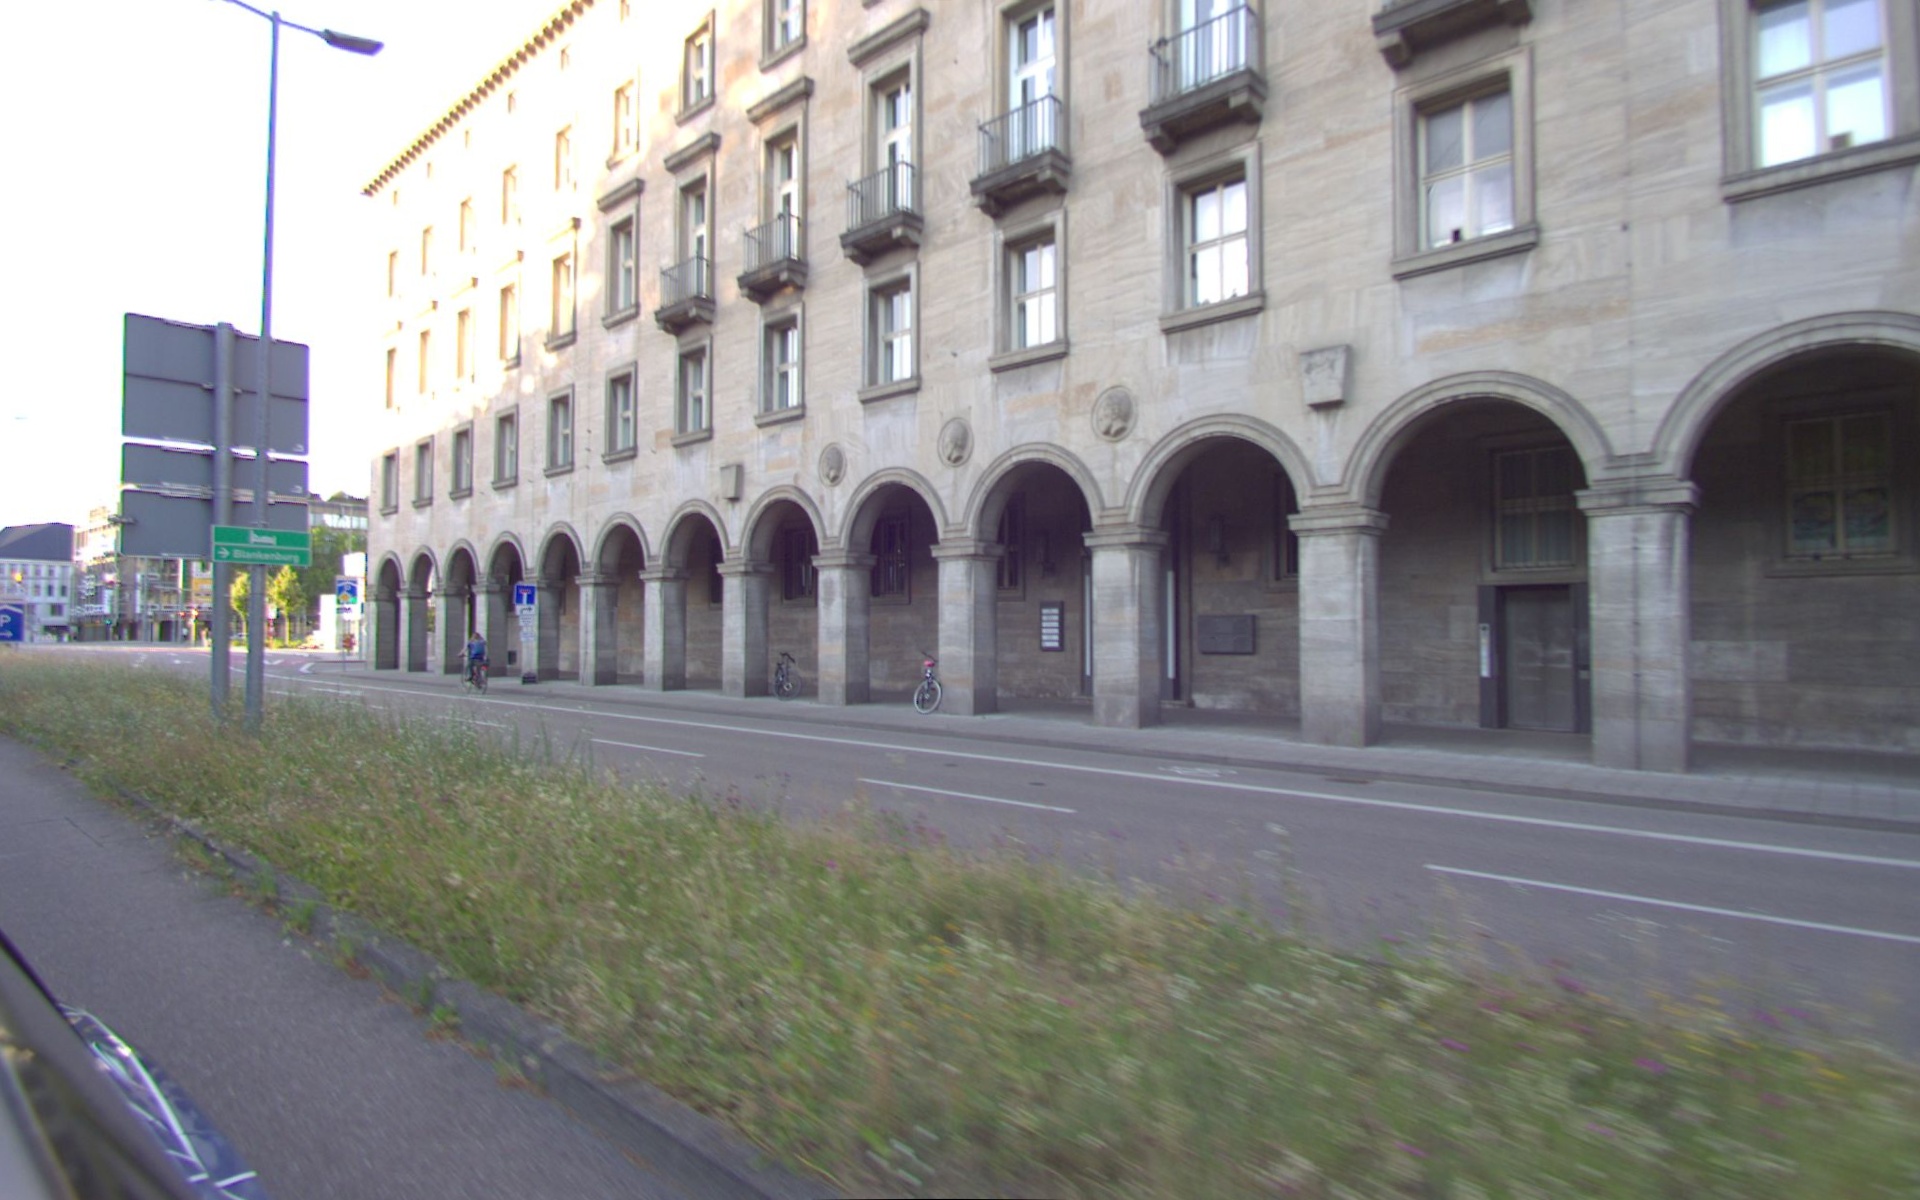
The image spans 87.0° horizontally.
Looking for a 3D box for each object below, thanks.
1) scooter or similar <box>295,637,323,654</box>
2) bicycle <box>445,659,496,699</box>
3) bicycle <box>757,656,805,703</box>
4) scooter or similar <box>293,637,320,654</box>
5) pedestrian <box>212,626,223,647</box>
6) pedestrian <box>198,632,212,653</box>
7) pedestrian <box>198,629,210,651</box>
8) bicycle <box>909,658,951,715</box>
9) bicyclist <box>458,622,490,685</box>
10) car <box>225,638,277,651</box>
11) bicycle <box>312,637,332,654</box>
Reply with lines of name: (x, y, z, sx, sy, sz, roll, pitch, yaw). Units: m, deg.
scooter or similar: (-51.121, 3.581, 79.473, 0.422, 1.315, 1.814, -1, -3, 36)
bicycle: (-13.535, 2.167, 27.954, 2.004, 1.013, 0.535, -2, -3, 42)
bicycle: (-4.181, 1.822, 23.500, 0.470, 1.013, 2.011, 1, -3, -29)
scooter or similar: (-51.499, 3.597, 79.775, 0.417, 1.315, 1.771, -1, -3, 36)
pedestrian: (-67.646, 3.330, 92.239, 0.648, 1.948, 0.652, -3, -4, 44)
pedestrian: (-68.150, 3.835, 91.318, 0.776, 1.851, 0.862, -2, -3, 43)
pedestrian: (-68.743, 3.652, 92.039, 0.775, 1.948, 0.624, -2, -3, 41)
bicycle: (-0.605, 1.678, 19.945, 0.471, 1.013, 2.009, 1, -2, -12)
bicyclist: (-13.391, 1.452, 27.868, 0.748, 1.706, 0.530, -2, -3, 43)
car: (-90.499, 5.629, 129.267, 1.999, 1.597, 5.092, -3, -3, 42)
bicycle: (-49.183, 3.491, 77.980, 2.508, 1.334, 0.611, -2, -3, 41)
